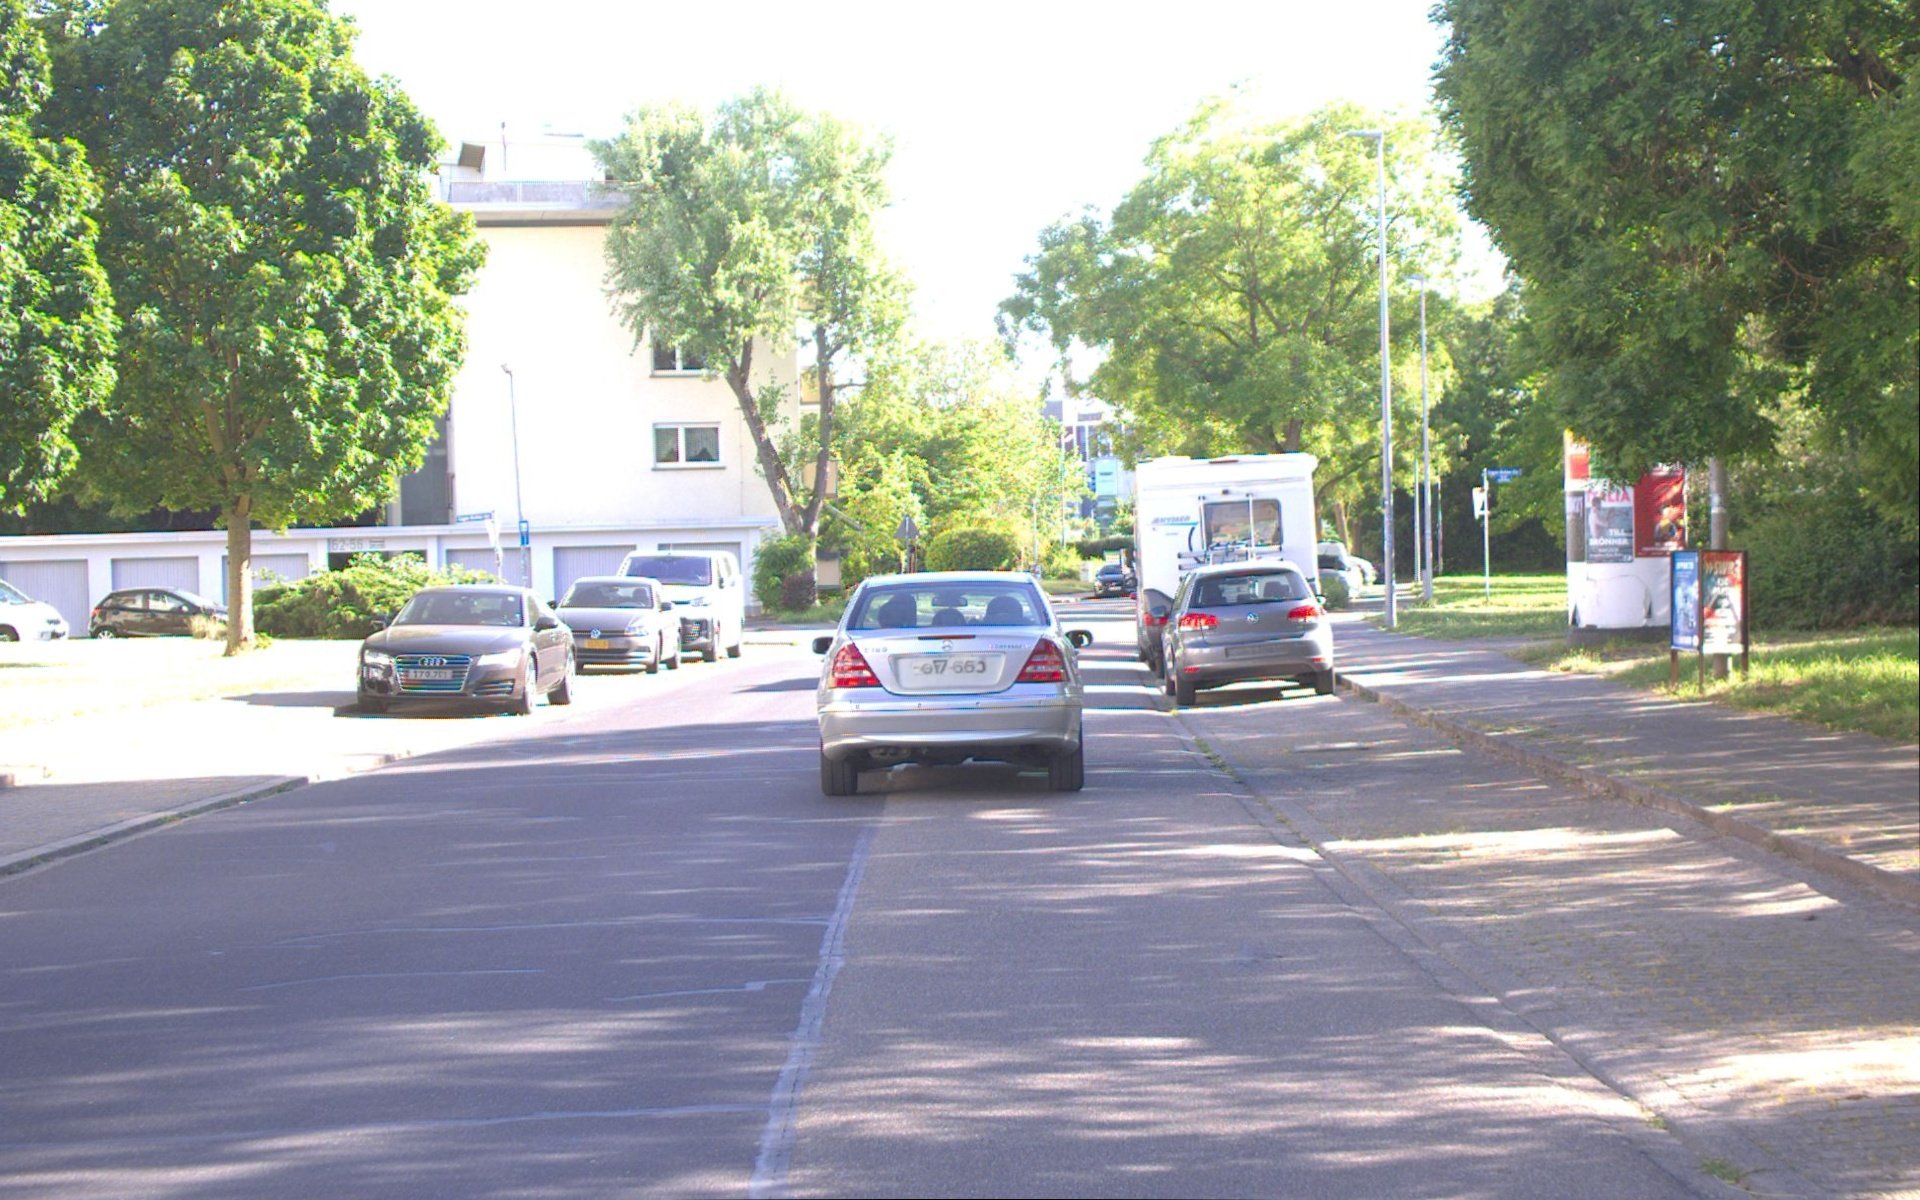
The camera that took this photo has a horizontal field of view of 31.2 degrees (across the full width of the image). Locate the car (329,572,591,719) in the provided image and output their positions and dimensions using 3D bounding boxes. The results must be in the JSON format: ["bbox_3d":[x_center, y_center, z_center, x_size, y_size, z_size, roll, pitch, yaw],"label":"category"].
[{"bbox_3d":[-5.624,0.464,39.350,2.035,1.487,5.256,-1,1,2],"label":"car"}]

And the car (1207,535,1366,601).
[{"bbox_3d":[10.475,-1.036,110.571,4.884,1.917,2.000,-2,1,1],"label":"car"}]

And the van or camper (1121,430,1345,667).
[{"bbox_3d":[3.520,-0.686,45.810,2.496,2.835,6.851,-2,1,1],"label":"van or camper"}]

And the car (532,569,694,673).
[{"bbox_3d":[-5.246,0.288,52.394,1.833,1.513,4.221,0,0,3],"label":"car"}]

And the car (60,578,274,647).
[{"bbox_3d":[-18.695,0.290,81.174,4.444,1.456,2.042,-2,1,9],"label":"car"}]

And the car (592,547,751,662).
[{"bbox_3d":[-4.886,0.048,58.894,2.014,1.879,5.190,0,0,3],"label":"car"}]

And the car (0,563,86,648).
[{"bbox_3d":[-23.791,0.170,82.110,5.107,1.944,2.236,-2,1,10],"label":"car"}]

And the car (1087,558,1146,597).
[{"bbox_3d":[6.558,-0.953,143.709,1.914,1.485,3.835,-4,0,10],"label":"car"}]

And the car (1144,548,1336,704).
[{"bbox_3d":[3.092,0.247,38.719,1.720,1.519,4.429,-5,1,1],"label":"car"}]

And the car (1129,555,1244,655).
[{"bbox_3d":[3.573,0.049,54.676,1.691,1.469,4.000,-2,1,3],"label":"car"}]

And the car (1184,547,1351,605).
[{"bbox_3d":[8.996,-0.715,100.592,4.783,1.544,2.011,-2,1,5],"label":"car"}]

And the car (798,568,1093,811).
[{"bbox_3d":[-0.025,0.547,22.734,1.733,1.429,3.438,-2,0,3],"label":"car"}]
